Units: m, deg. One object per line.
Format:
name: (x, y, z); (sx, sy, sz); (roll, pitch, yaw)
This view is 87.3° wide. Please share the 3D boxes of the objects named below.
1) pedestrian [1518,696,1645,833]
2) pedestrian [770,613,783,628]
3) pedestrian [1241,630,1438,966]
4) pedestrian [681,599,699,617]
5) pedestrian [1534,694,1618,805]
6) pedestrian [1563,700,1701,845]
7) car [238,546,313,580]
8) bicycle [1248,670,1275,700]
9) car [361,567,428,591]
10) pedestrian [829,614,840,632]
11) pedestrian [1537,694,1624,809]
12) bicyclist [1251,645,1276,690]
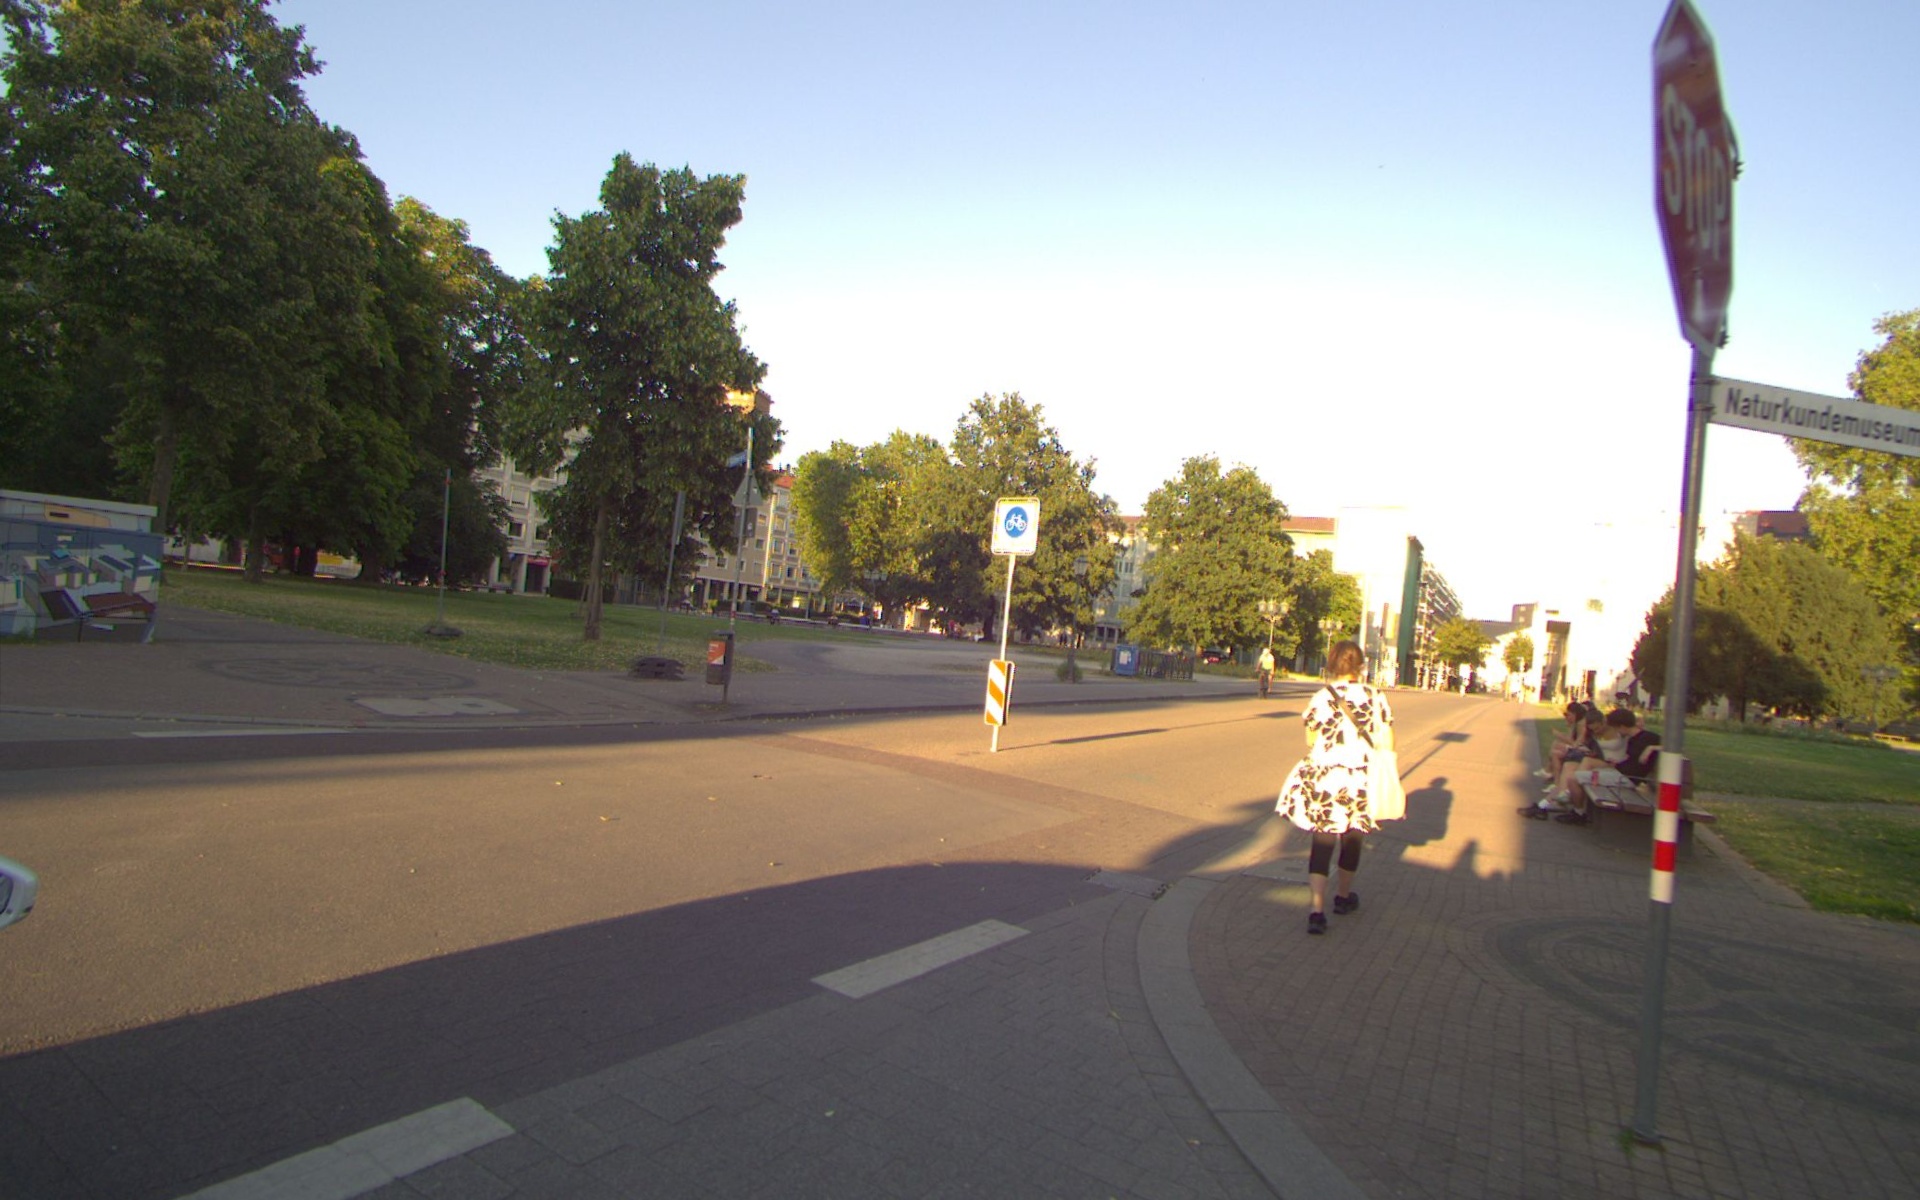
pedestrian: (6.525, 1.712, 10.592); (0.857, 1.277, 0.598); (5, 0, 0)
pedestrian: (-11.755, 1.309, 64.487); (0.609, 0.936, 0.512); (5, 0, 6)
pedestrian: (2.219, 1.081, 5.856); (0.822, 1.710, 0.735); (5, 0, 31)
pedestrian: (-18.255, 0.522, 67.950); (0.893, 1.090, 0.614); (6, 0, -42)
pedestrian: (8.368, 2.014, 13.697); (0.804, 1.358, 0.598); (5, 0, 26)
pedestrian: (6.613, 1.677, 9.937); (0.803, 1.252, 0.684); (5, 0, 1)
car: (-51.105, -2.741, 75.179); (1.968, 2.038, 4.036); (5, -1, 32)
bicycle: (10.538, 2.947, 35.089); (0.630, 0.953, 1.463); (5, -1, 25)
car: (-40.083, -1.491, 71.399); (1.964, 1.255, 3.583); (5, -1, 25)
pedestrian: (-8.045, 1.480, 64.286); (0.610, 1.091, 0.511); (5, 0, -8)
pedestrian: (8.069, 1.949, 13.111); (0.804, 1.358, 0.598); (5, 0, 26)
bicyclist: (10.600, 2.352, 35.091); (0.630, 1.461, 0.695); (6, 0, 25)
